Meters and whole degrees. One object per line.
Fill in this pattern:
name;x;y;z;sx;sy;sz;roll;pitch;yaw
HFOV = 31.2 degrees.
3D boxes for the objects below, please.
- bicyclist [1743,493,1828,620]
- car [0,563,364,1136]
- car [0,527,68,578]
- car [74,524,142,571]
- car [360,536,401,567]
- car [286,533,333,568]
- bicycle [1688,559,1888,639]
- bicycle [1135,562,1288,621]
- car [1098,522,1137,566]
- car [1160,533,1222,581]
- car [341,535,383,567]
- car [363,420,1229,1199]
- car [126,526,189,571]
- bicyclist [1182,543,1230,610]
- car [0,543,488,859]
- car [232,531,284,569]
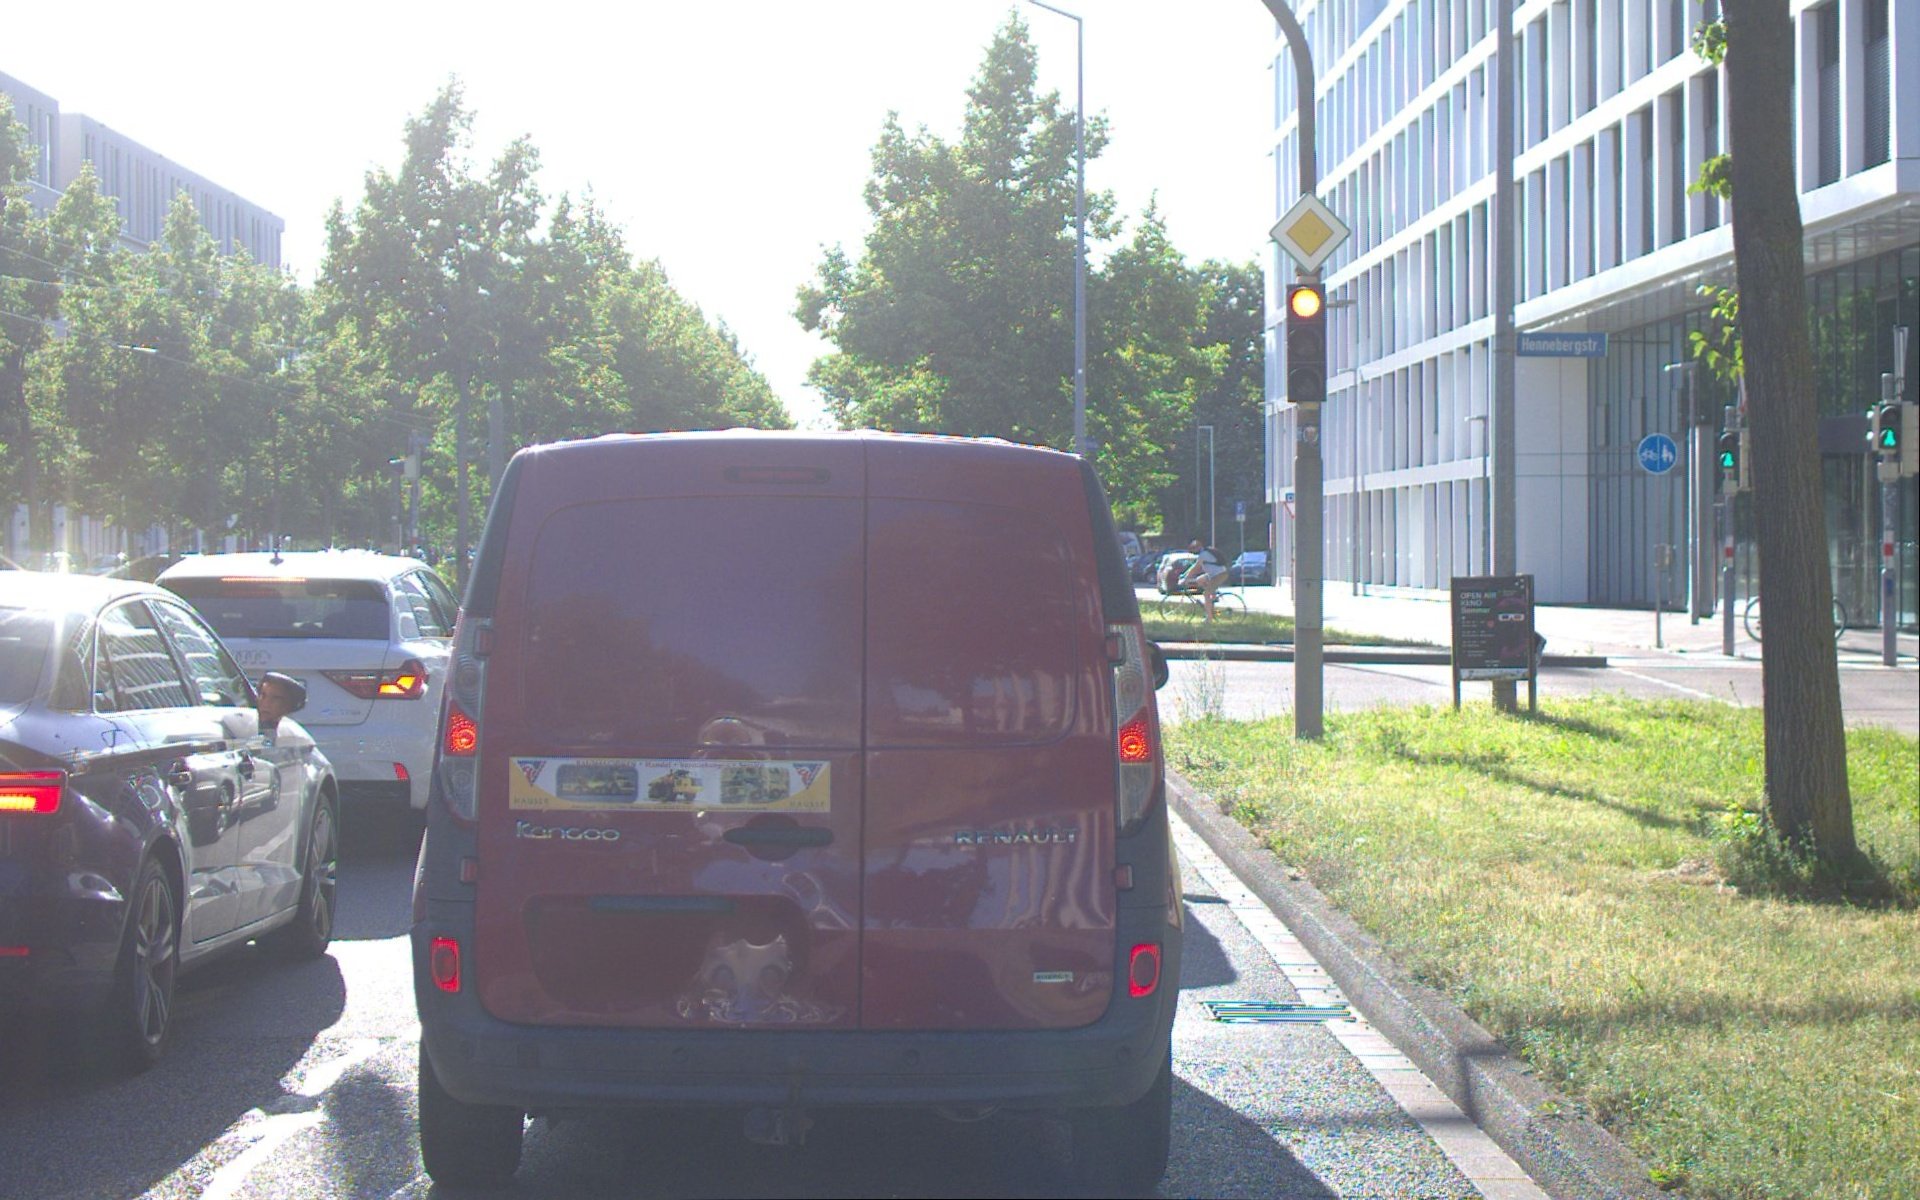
bicyclist;12.704;-0.675;52.901;1.001;1.940;0.816;1;1;42
car;-3.167;0.613;10.932;1.842;1.421;4.339;0;1;-1
car;-36.900;-1.905;136.505;1.993;2.007;4.000;0;1;-1
car;-36.981;-2.276;149.331;1.993;2.007;4.000;0;1;-1
car;-37.549;-3.154;222.874;1.993;2.007;4.000;0;1;-1
car;-37.679;-2.884;199.232;1.993;2.007;4.000;0;1;-1
bicycle;12.720;-0.031;52.895;2.949;1.186;0.816;1;1;42
bicycle;4.795;-0.168;65.448;2.838;1.111;0.820;0;1;11
car;9.070;-3.254;198.333;1.993;2.488;4.987;0;1;-1
car;8.575;-1.617;127.991;1.993;1.776;4.000;0;1;-1
car;-37.760;-3.097;217.250;1.993;2.007;4.000;0;1;-1
car;-0.375;0.468;9.339;1.842;1.774;4.000;0;1;-1
car;-36.968;-2.382;158.432;1.993;2.007;4.000;0;1;-1
bicyclist;4.683;-0.451;65.488;0.680;1.270;0.821;0;1;-16
car;-3.562;0.428;17.575;1.803;1.421;3.901;0;1;-1
car;-37.229;-2.671;182.418;1.993;2.007;4.000;0;1;-1
